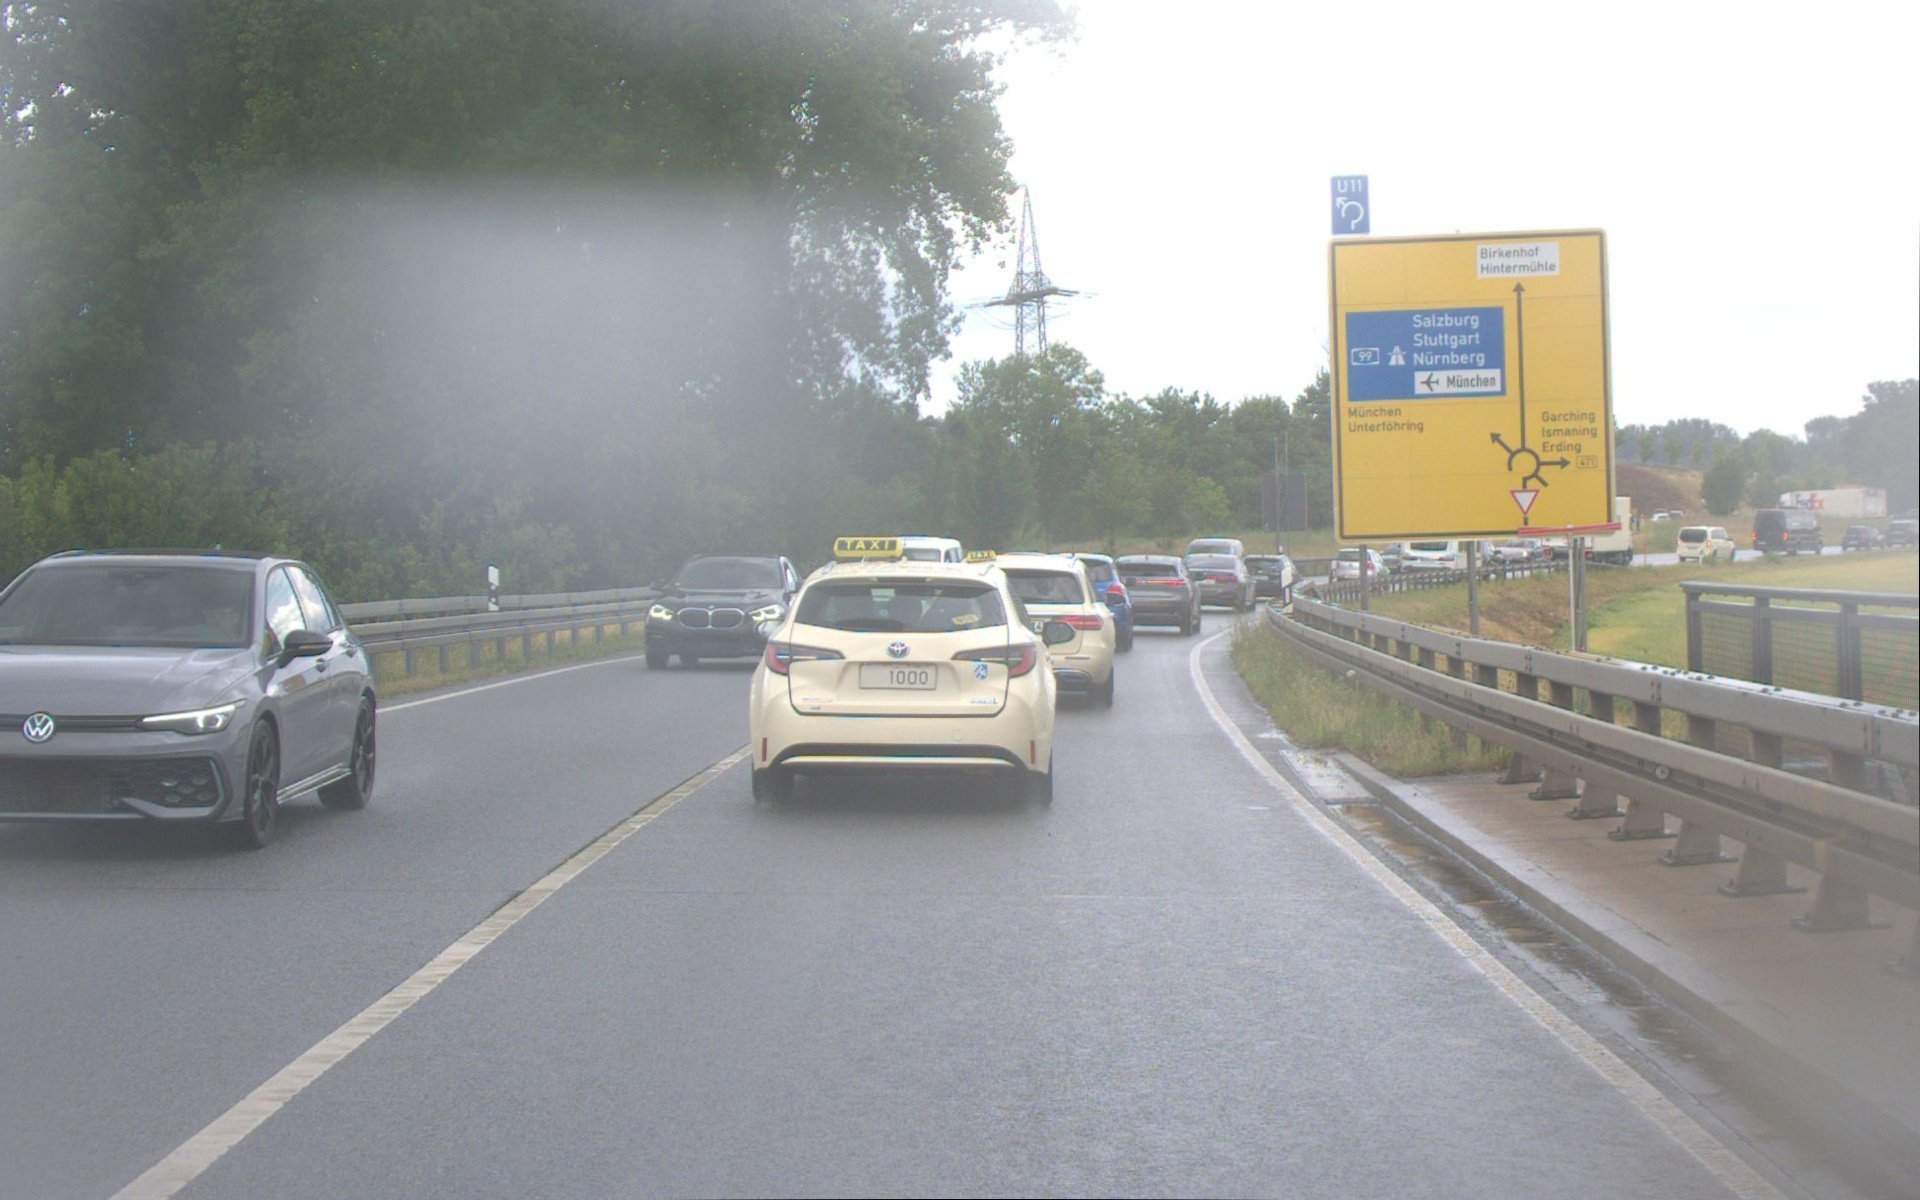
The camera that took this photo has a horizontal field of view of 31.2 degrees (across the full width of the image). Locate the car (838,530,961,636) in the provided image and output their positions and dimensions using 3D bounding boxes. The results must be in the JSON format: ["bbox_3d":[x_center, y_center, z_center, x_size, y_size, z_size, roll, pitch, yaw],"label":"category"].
[{"bbox_3d":[-1.099,-0.356,64.643,1.862,1.885,4.489,0,1,5],"label":"car"}]

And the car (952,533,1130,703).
[{"bbox_3d":[0.841,0.142,33.872,1.578,1.567,3.681,0,1,4],"label":"car"}]

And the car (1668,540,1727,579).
[{"bbox_3d":[39.632,-2.172,184.694,2.170,2.007,3.994,1,0,27],"label":"car"}]

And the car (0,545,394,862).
[{"bbox_3d":[-4.243,0.443,17.852,1.835,1.438,4.103,1,1,1],"label":"car"}]

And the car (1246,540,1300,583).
[{"bbox_3d":[12.877,-1.566,141.453,1.518,1.715,3.418,1,0,17],"label":"car"}]

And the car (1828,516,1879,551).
[{"bbox_3d":[54.382,-4.049,209.202,2.229,2.007,3.994,1,0,26],"label":"car"}]

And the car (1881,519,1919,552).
[{"bbox_3d":[59.421,-4.037,216.418,1.996,2.007,3.994,1,0,26],"label":"car"}]

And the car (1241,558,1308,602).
[{"bbox_3d":[9.518,-0.607,103.862,1.483,1.304,3.474,1,1,15],"label":"car"}]

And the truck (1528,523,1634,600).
[{"bbox_3d":[29.710,-1.816,164.228,3.144,3.550,7.511,1,0,25],"label":"truck"}]

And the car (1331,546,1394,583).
[{"bbox_3d":[14.251,-1.259,121.654,1.484,1.304,3.473,1,1,19],"label":"car"}]

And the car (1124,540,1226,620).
[{"bbox_3d":[4.124,-0.389,65.454,1.665,1.459,3.476,1,1,8],"label":"car"}]

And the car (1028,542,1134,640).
[{"bbox_3d":[1.839,-0.151,52.817,1.506,1.432,3.356,1,1,0],"label":"car"}]

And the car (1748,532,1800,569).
[{"bbox_3d":[46.637,-2.830,196.824,1.996,2.007,3.994,1,0,27],"label":"car"}]

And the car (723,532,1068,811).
[{"bbox_3d":[-0.390,0.370,21.162,1.906,1.532,4.162,0,1,-1],"label":"car"}]

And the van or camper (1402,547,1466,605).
[{"bbox_3d":[18.884,-0.936,136.880,1.995,2.246,3.997,1,0,16],"label":"van or camper"}]

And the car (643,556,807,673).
[{"bbox_3d":[-2.933,0.158,43.662,1.696,1.395,4.332,1,1,1],"label":"car"}]

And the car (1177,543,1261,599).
[{"bbox_3d":[6.715,-0.732,88.753,1.661,1.404,3.902,0,0,12],"label":"car"}]
